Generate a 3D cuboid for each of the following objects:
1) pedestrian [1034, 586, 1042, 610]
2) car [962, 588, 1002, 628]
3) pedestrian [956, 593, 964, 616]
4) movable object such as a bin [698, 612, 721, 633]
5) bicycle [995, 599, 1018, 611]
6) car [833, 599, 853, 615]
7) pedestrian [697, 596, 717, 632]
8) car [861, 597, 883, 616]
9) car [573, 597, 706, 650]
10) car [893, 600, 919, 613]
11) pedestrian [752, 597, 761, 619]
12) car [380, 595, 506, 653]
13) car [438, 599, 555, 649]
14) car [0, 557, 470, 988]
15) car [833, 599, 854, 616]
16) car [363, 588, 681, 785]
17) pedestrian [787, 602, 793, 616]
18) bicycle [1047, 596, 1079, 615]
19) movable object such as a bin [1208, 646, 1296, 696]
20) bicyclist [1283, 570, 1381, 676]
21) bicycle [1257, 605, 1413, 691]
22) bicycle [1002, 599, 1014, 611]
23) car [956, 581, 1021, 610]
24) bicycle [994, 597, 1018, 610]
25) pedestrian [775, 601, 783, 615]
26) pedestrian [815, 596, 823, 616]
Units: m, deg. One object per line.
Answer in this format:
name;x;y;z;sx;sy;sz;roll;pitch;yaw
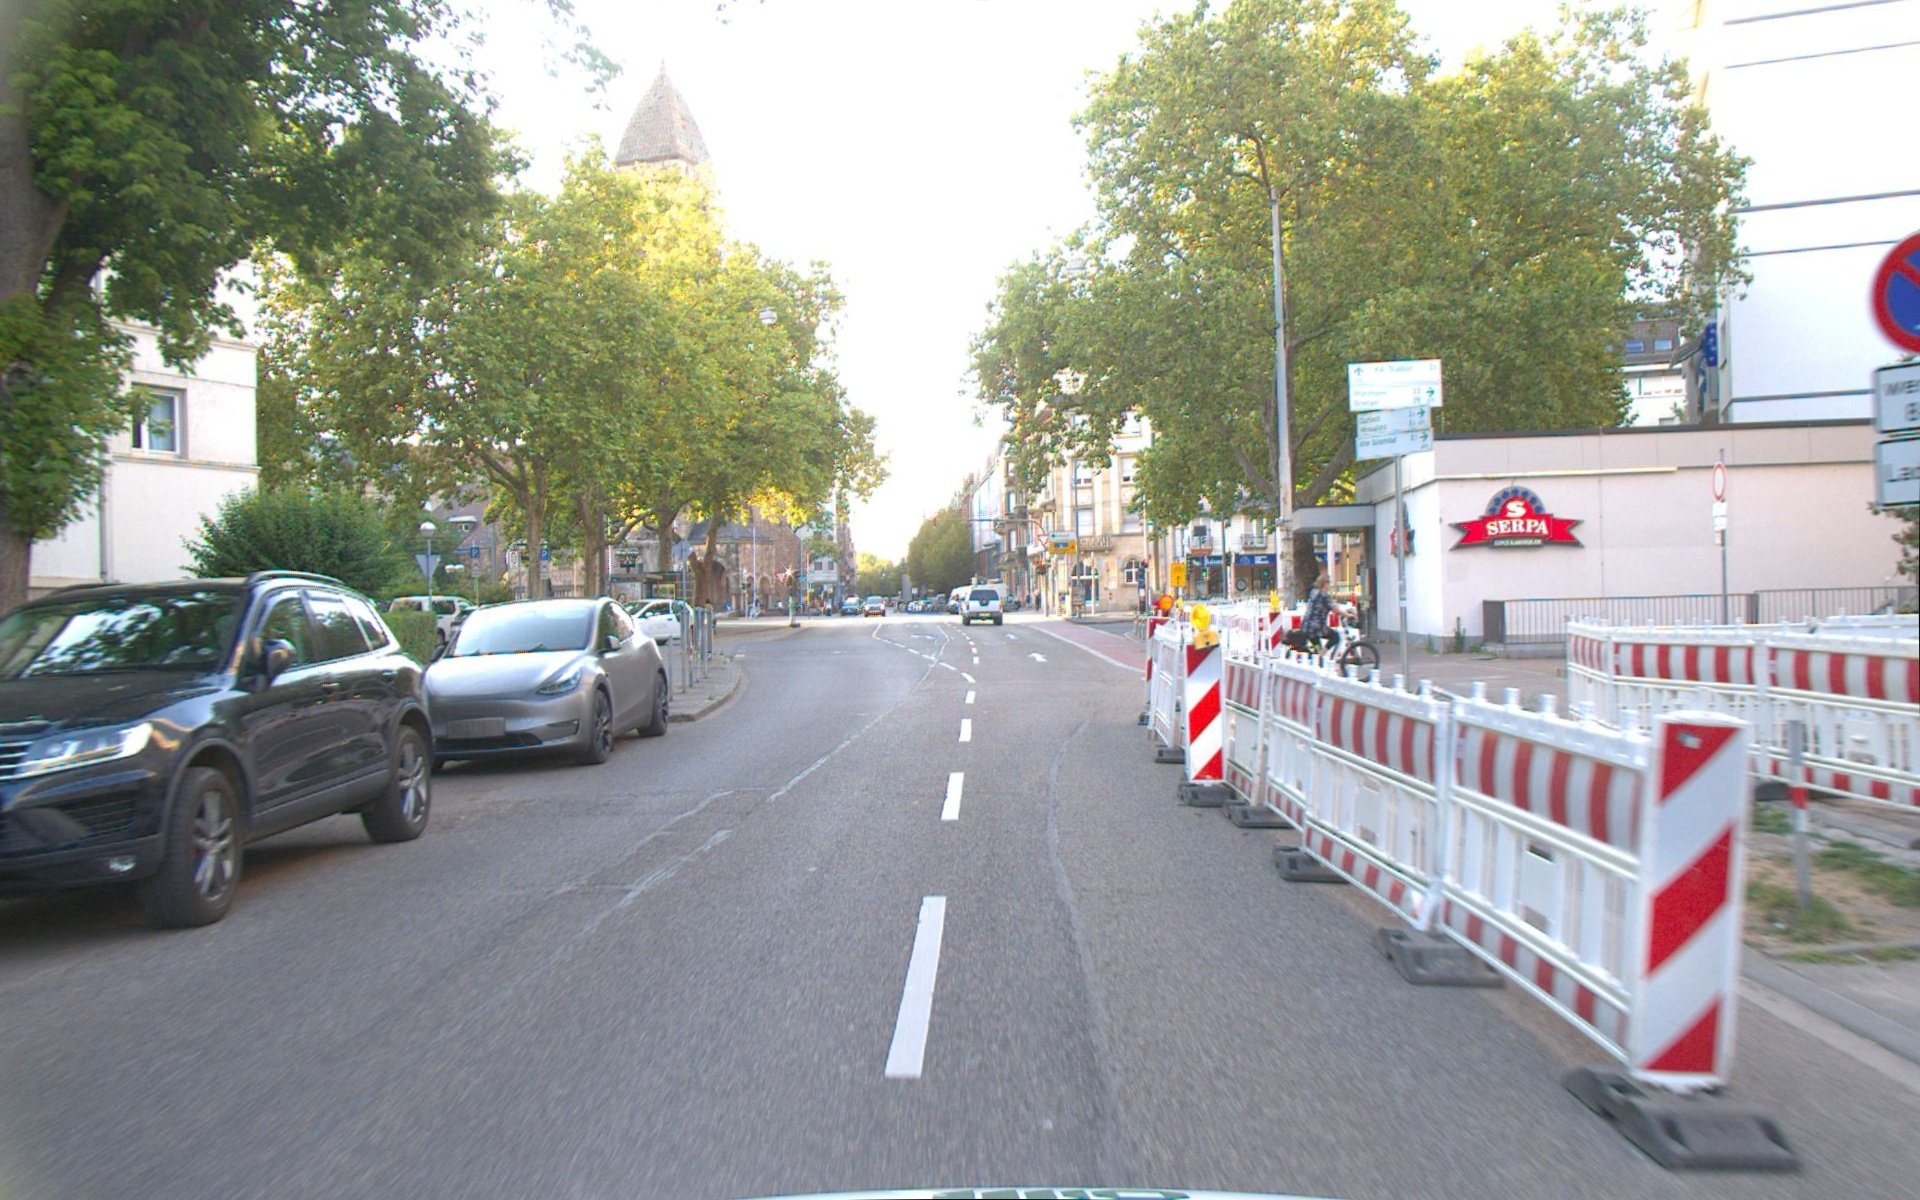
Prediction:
pedestrian;6.198;-0.146;130.617;0.581;1.919;0.648;-1;0;3
car;1.036;0.370;80.888;1.828;1.846;4.000;-2;0;0
pedestrian;-0.017;0.367;134.777;0.581;1.919;0.648;-1;0;3
movable object such as a bin;-11.694;1.045;77.230;0.722;0.906;0.983;-1;0;13
bicycle;3.839;0.400;137.002;1.876;0.985;0.545;-2;0;-1
car;-12.596;0.761;177.513;1.955;1.680;3.816;0;0;-7
pedestrian;-11.957;0.663;78.210;0.722;1.657;0.686;-1;0;13
car;-7.898;0.592;147.921;1.747;1.680;3.816;0;0;-7
car;-10.141;0.734;52.554;1.958;1.545;3.990;-1;0;32
car;-8.210;0.931;250.663;3.909;1.847;1.998;-1;0;-5
pedestrian;-17.718;0.715;144.145;0.581;1.919;0.553;-1;0;22
car;-18.248;0.818;58.656;1.781;1.831;4.633;-1;1;20
car;-15.797;0.801;56.626;1.780;1.507;4.635;-2;1;14
car;-4.464;0.750;9.208;1.914;1.748;4.771;-3;0;0
car;-12.007;0.743;169.794;1.955;1.680;3.816;0;0;-7
car;-4.290;0.765;17.047;1.914;1.645;4.605;-3;0;1
pedestrian;-15.848;0.806;153.822;0.481;1.309;0.499;-1;0;-2
bicycle;5.595;0.284;89.823;1.659;0.985;0.545;-2;0;-6
movable object such as a bin;4.613;1.118;26.148;0.978;0.701;0.935;-4;0;-25
bicyclist;6.021;0.377;26.816;1.128;1.609;0.935;-4;-1;-25
bicycle;6.085;0.769;26.833;2.322;1.192;0.935;-4;0;-25
bicycle;4.025;0.404;139.147;0.532;0.985;1.922;-1;0;15
car;2.522;-0.412;143.264;5.774;2.328;2.040;-2;0;-42
bicycle;3.805;0.282;136.807;1.876;0.985;0.545;-2;0;-1
pedestrian;-16.743;0.749;153.321;0.560;1.313;0.487;-1;0;13
pedestrian;-13.878;0.607;163.145;0.580;1.919;0.585;-1;0;12
